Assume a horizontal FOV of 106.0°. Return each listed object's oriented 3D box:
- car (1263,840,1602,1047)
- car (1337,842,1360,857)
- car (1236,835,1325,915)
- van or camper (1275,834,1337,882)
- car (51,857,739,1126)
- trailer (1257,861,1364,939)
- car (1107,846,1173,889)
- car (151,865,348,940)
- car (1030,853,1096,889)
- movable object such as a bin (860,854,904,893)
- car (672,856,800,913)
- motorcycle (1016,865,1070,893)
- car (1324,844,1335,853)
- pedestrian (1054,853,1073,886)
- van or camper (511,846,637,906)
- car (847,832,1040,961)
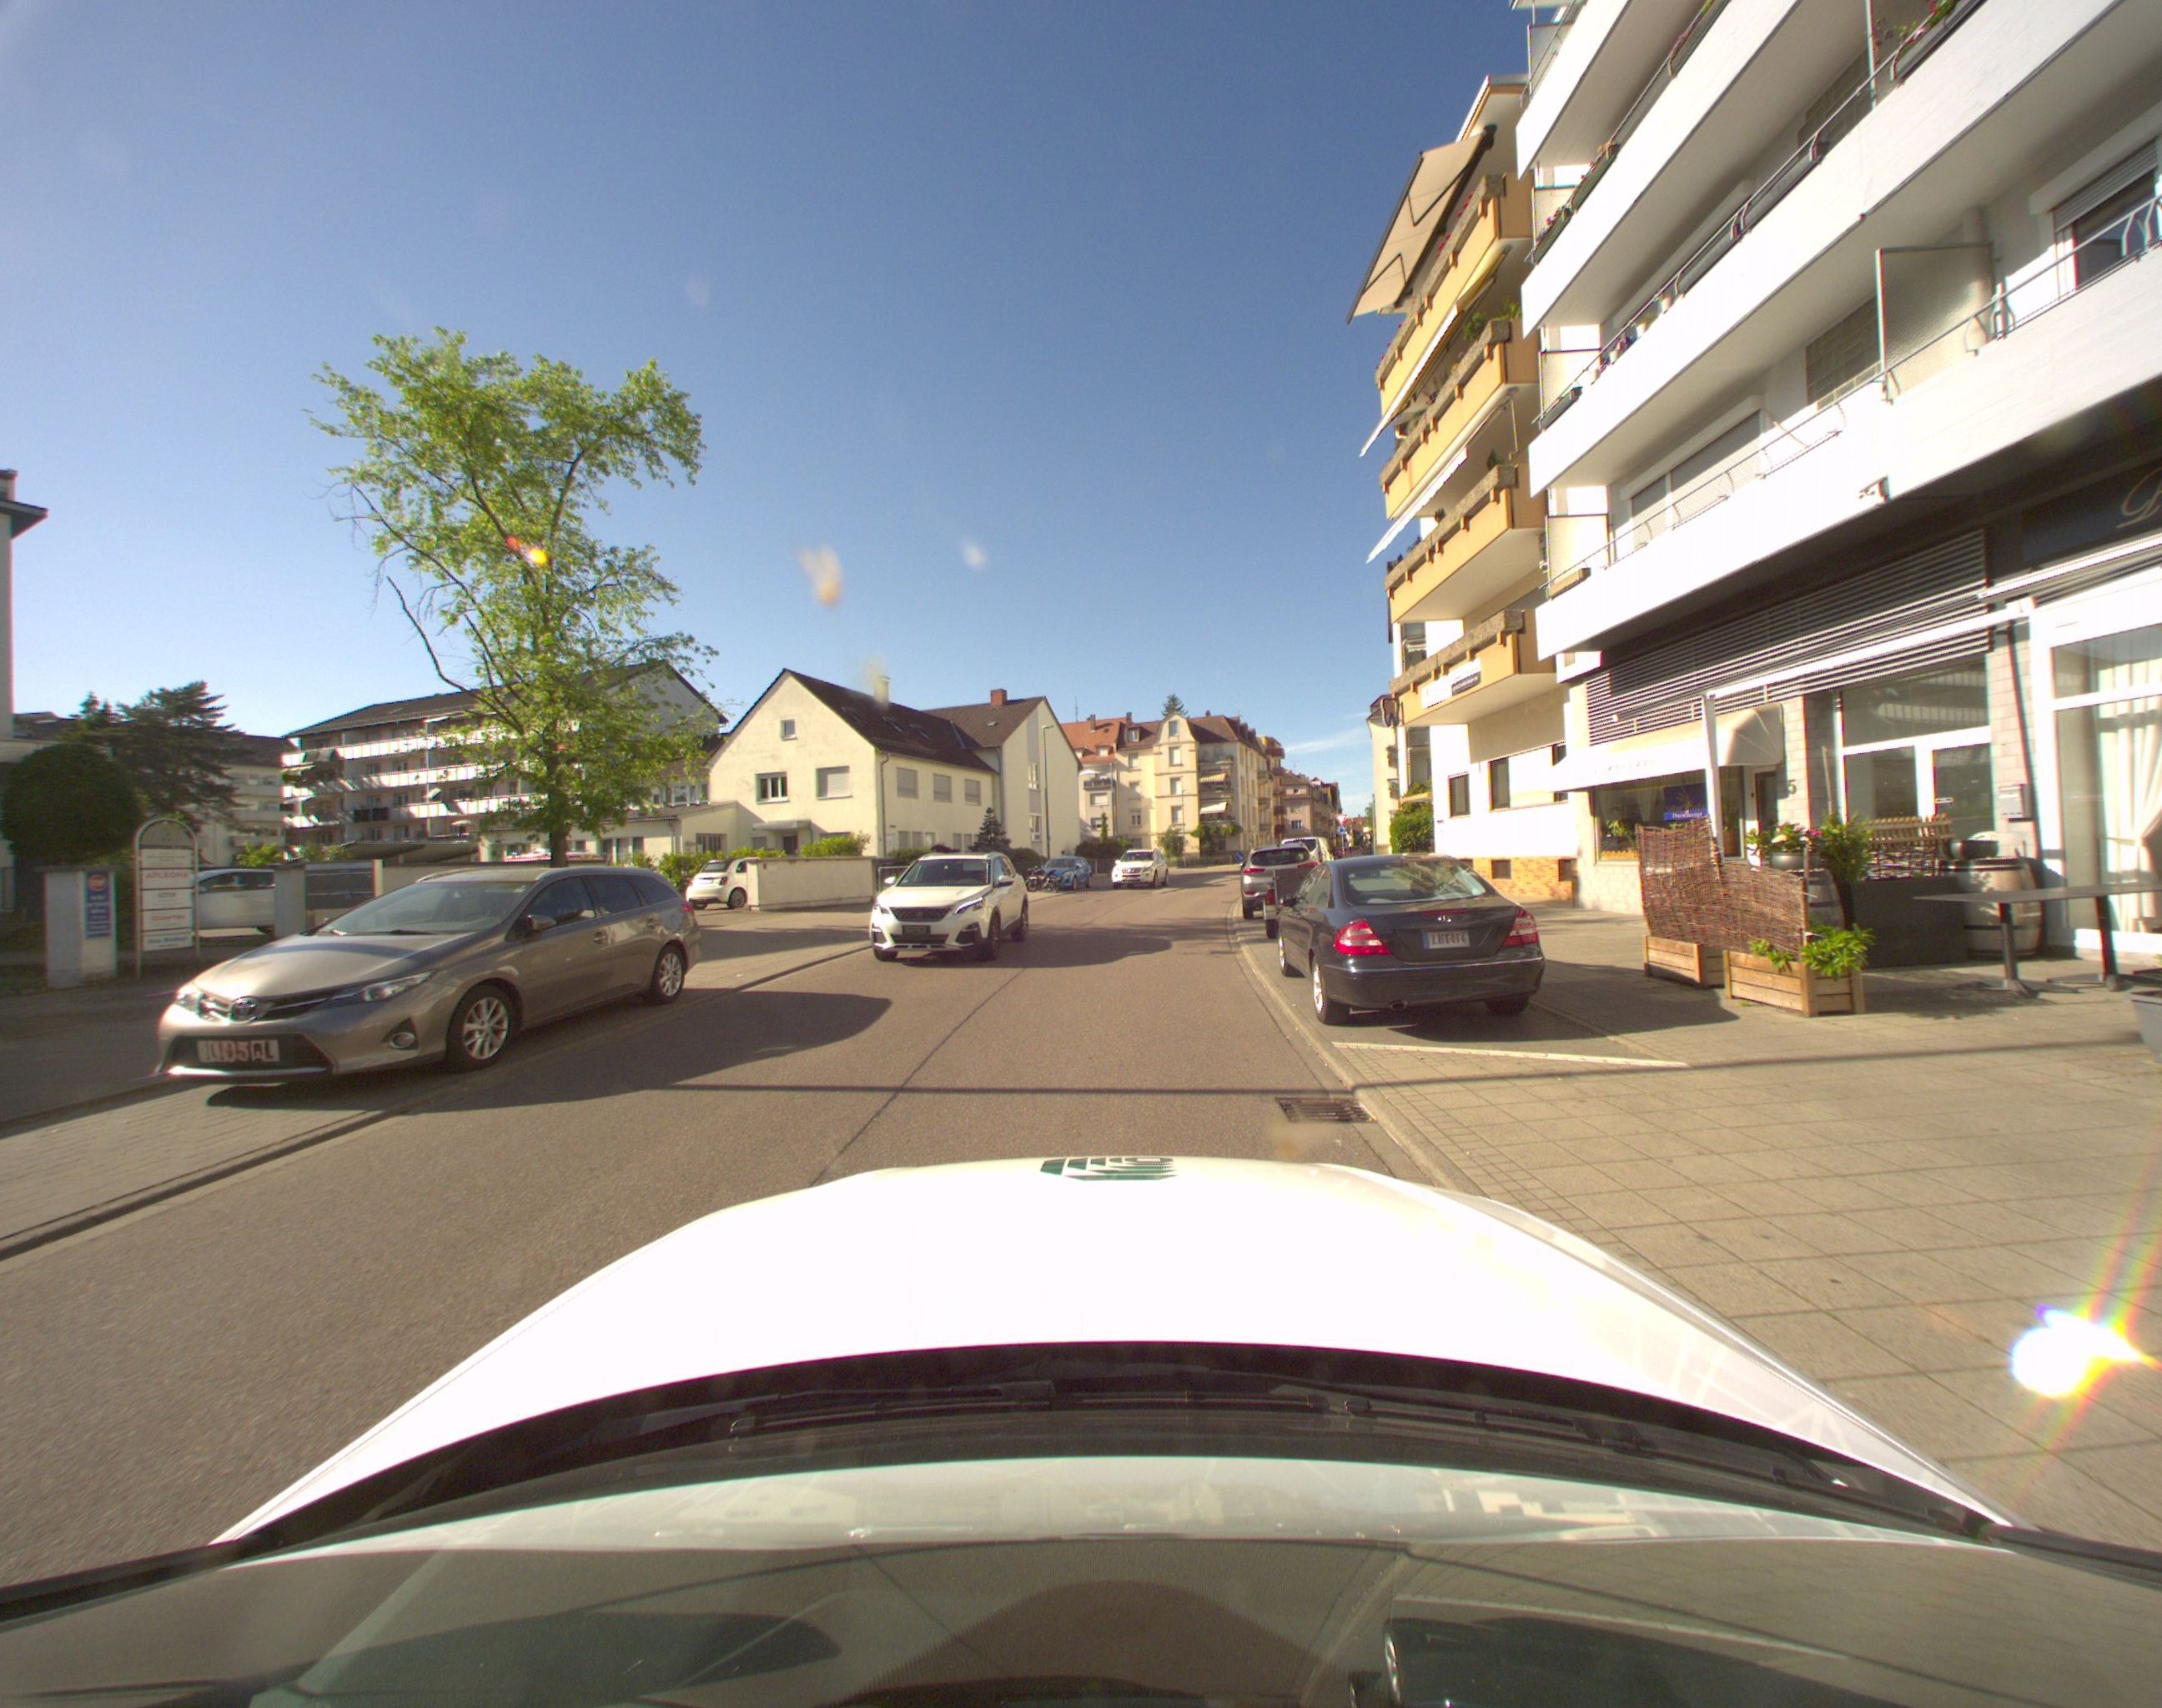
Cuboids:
[{"bbox_3d":[3.067,0.692,8.368,1.959,1.450,5.015,-2,-1,9],"label":"car"},{"bbox_3d":[35.966,-0.590,109.394,2.410,1.811,4.749,-2,0,23],"label":"car"},{"bbox_3d":[4.725,0.537,19.737,1.805,1.653,4.573,-2,-3,11],"label":"car"},{"bbox_3d":[10.479,0.141,37.669,2.002,1.947,4.729,-5,-1,23],"label":"van or camper"},{"bbox_3d":[-5.161,0.832,7.362,1.987,1.534,4.918,-2,0,0],"label":"car"},{"bbox_3d":[3.979,0.748,14.365,1.591,1.178,2.953,-3,-1,13],"label":"trailer"},{"bbox_3d":[2.765,0.565,37.097,1.974,1.785,4.539,-3,0,17],"label":"car"},{"bbox_3d":[-18.871,1.089,18.591,1.719,1.509,2.642,-5,-4,19],"label":"car"},{"bbox_3d":[-0.727,0.739,36.501,1.784,1.473,4.348,-1,0,15],"label":"car"},{"bbox_3d":[-8.062,0.805,33.040,1.272,1.490,1.232,-3,-3,17],"label":"movable object such as a bin"},{"bbox_3d":[-10.421,0.929,24.797,1.783,1.556,3.206,-3,-3,24],"label":"car"},{"bbox_3d":[-1.566,1.024,33.596,2.038,1.019,0.953,1,2,27],"label":"motorcycle"},{"bbox_3d":[50.251,-1.109,164.611,1.620,1.656,3.691,-2,0,22],"label":"car"},{"bbox_3d":[-0.901,0.831,42.921,0.676,1.704,0.828,-3,-3,22],"label":"pedestrian"},{"bbox_3d":[-22.917,1.009,36.818,5.172,2.398,2.161,-4,-2,22],"label":"van or camper"},{"bbox_3d":[-2.040,0.691,13.447,1.909,1.725,4.344,-2,-3,7],"label":"car"}]
